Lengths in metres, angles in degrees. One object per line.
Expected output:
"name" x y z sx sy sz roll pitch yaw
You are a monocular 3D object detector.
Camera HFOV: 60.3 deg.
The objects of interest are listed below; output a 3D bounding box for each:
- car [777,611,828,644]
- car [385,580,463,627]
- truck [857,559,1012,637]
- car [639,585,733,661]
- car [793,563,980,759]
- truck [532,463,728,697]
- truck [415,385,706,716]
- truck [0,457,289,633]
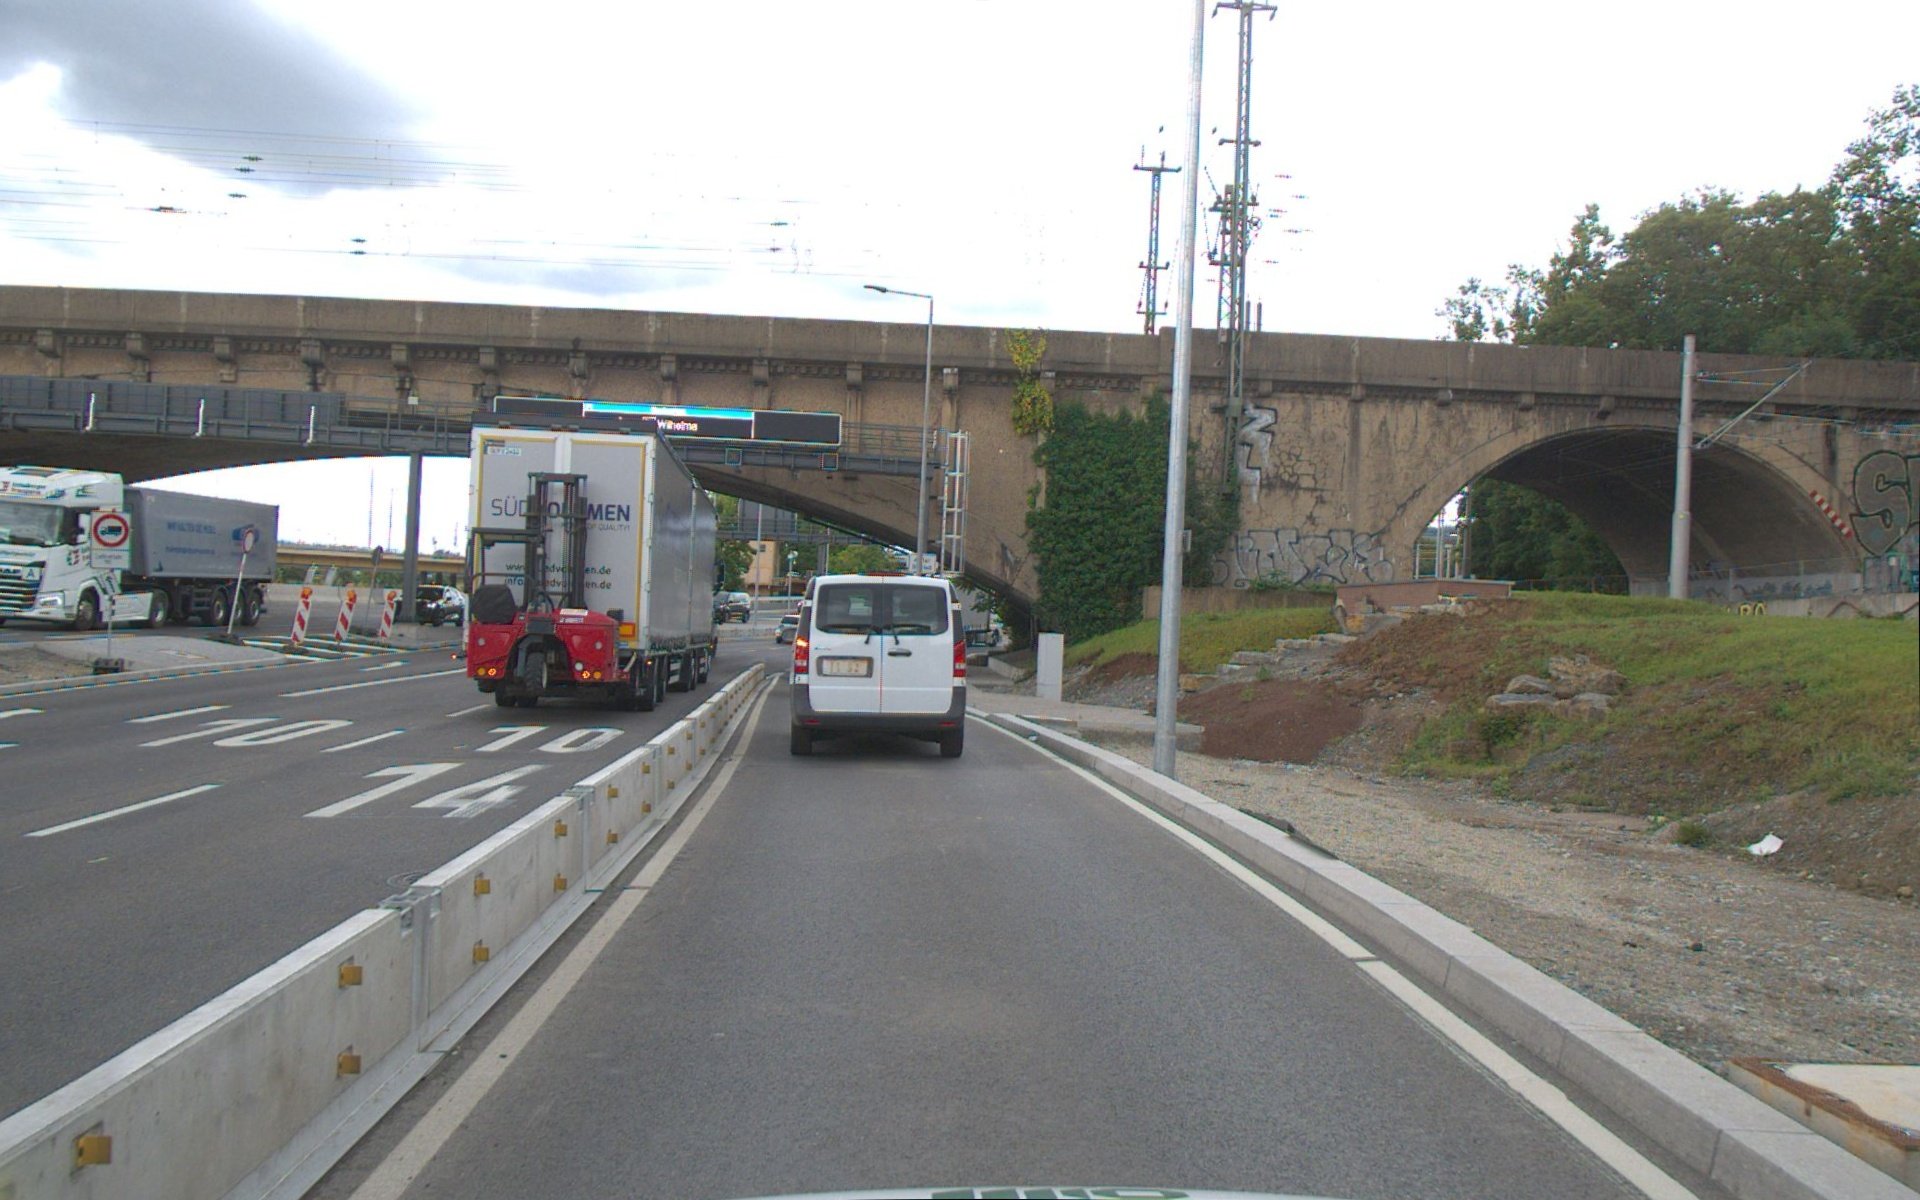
"car" -8.073 1.381 85.229 1.720 1.579 4.003 2 0 8
"car" -19.896 0.137 61.551 1.672 1.649 4.448 -1 0 -4
"truck" -1.154 0.069 96.013 3.249 3.875 16.596 4 0 19
"car" -10.180 0.840 61.953 1.952 2.585 5.177 4 0 6
"car" -0.941 0.649 18.940 1.840 1.924 4.747 1 -1 -5
"truck" -6.985 -0.160 36.740 2.930 4.249 11.224 3 -3 -6
"truck" -5.902 -0.486 26.357 2.861 4.087 10.187 3 -2 -6
"truck" -22.935 -1.374 46.227 2.840 4.132 13.985 2 0 -1
